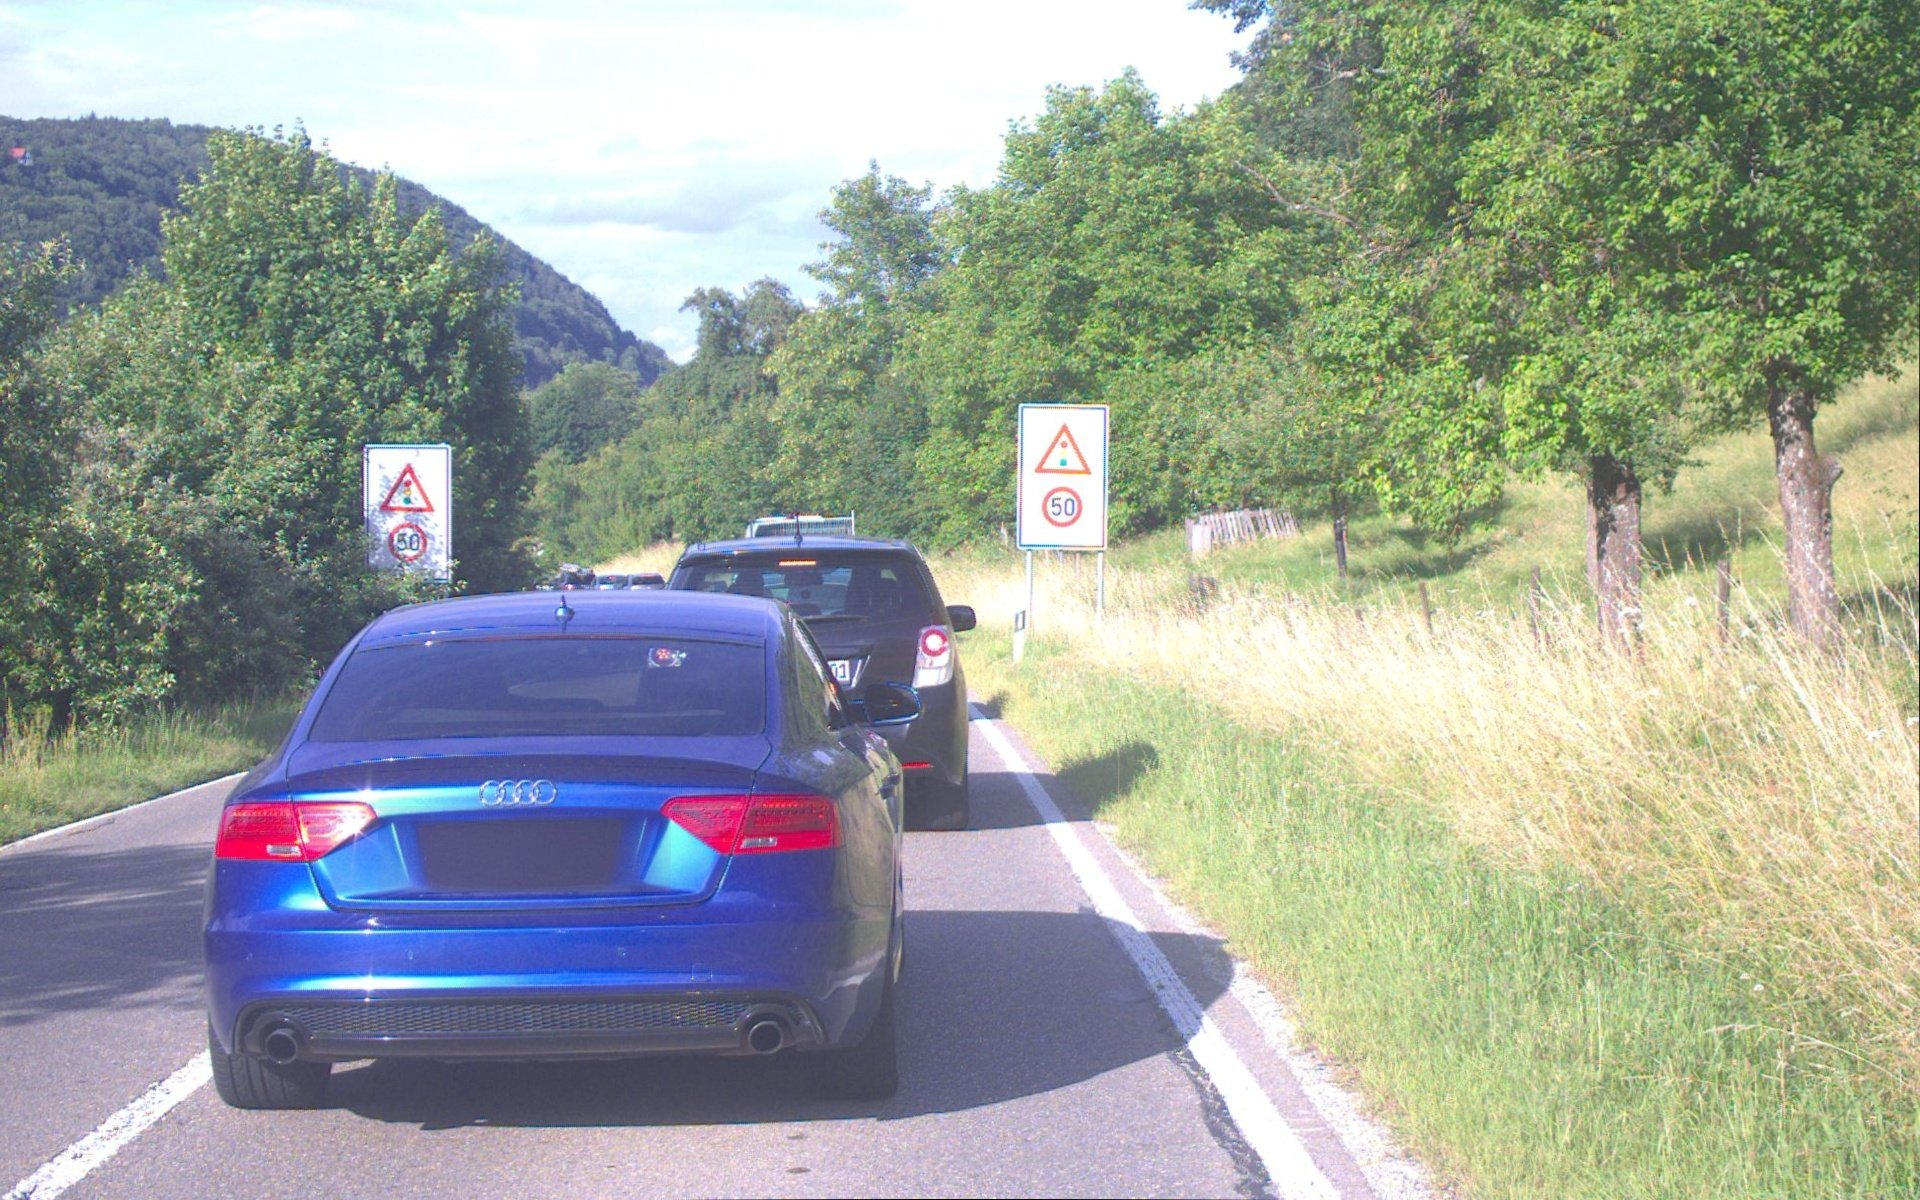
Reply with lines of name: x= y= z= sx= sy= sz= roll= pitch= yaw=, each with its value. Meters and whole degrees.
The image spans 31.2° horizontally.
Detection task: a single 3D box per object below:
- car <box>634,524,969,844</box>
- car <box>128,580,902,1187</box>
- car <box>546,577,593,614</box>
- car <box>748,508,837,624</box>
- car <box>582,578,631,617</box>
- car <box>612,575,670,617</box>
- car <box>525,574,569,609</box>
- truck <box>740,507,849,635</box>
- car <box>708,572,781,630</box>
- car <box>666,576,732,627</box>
car: x=-0.863 y=0.395 z=19.516 sx=1.692 sy=1.618 sz=3.789 roll=1 pitch=1 yaw=-2
car: x=-1.090 y=0.658 z=10.247 sx=1.805 sy=1.377 sz=4.215 roll=-1 pitch=1 yaw=-1
car: x=-17.222 y=-0.191 z=151.562 sx=1.558 sy=1.490 sz=3.779 roll=2 pitch=1 yaw=-14
car: x=-3.751 y=-0.765 z=76.613 sx=1.792 sy=2.445 sz=3.920 roll=2 pitch=1 yaw=-4
car: x=-14.688 y=-0.109 z=142.776 sx=1.558 sy=1.490 sz=3.779 roll=2 pitch=1 yaw=-13
car: x=-12.418 y=-0.151 z=133.580 sx=1.747 sy=1.490 sz=3.779 roll=2 pitch=1 yaw=-12
car: x=-19.181 y=-0.383 z=159.485 sx=1.558 sy=1.490 sz=3.779 roll=2 pitch=1 yaw=-14
truck: x=-3.197 y=-0.580 z=67.043 sx=1.950 sy=2.337 sz=5.094 roll=2 pitch=1 yaw=-2
car: x=-6.096 y=0.005 z=96.889 sx=1.747 sy=1.490 sz=3.779 roll=2 pitch=1 yaw=-7
car: x=-8.528 y=0.039 z=111.940 sx=1.747 sy=1.490 sz=3.779 roll=2 pitch=1 yaw=-10
